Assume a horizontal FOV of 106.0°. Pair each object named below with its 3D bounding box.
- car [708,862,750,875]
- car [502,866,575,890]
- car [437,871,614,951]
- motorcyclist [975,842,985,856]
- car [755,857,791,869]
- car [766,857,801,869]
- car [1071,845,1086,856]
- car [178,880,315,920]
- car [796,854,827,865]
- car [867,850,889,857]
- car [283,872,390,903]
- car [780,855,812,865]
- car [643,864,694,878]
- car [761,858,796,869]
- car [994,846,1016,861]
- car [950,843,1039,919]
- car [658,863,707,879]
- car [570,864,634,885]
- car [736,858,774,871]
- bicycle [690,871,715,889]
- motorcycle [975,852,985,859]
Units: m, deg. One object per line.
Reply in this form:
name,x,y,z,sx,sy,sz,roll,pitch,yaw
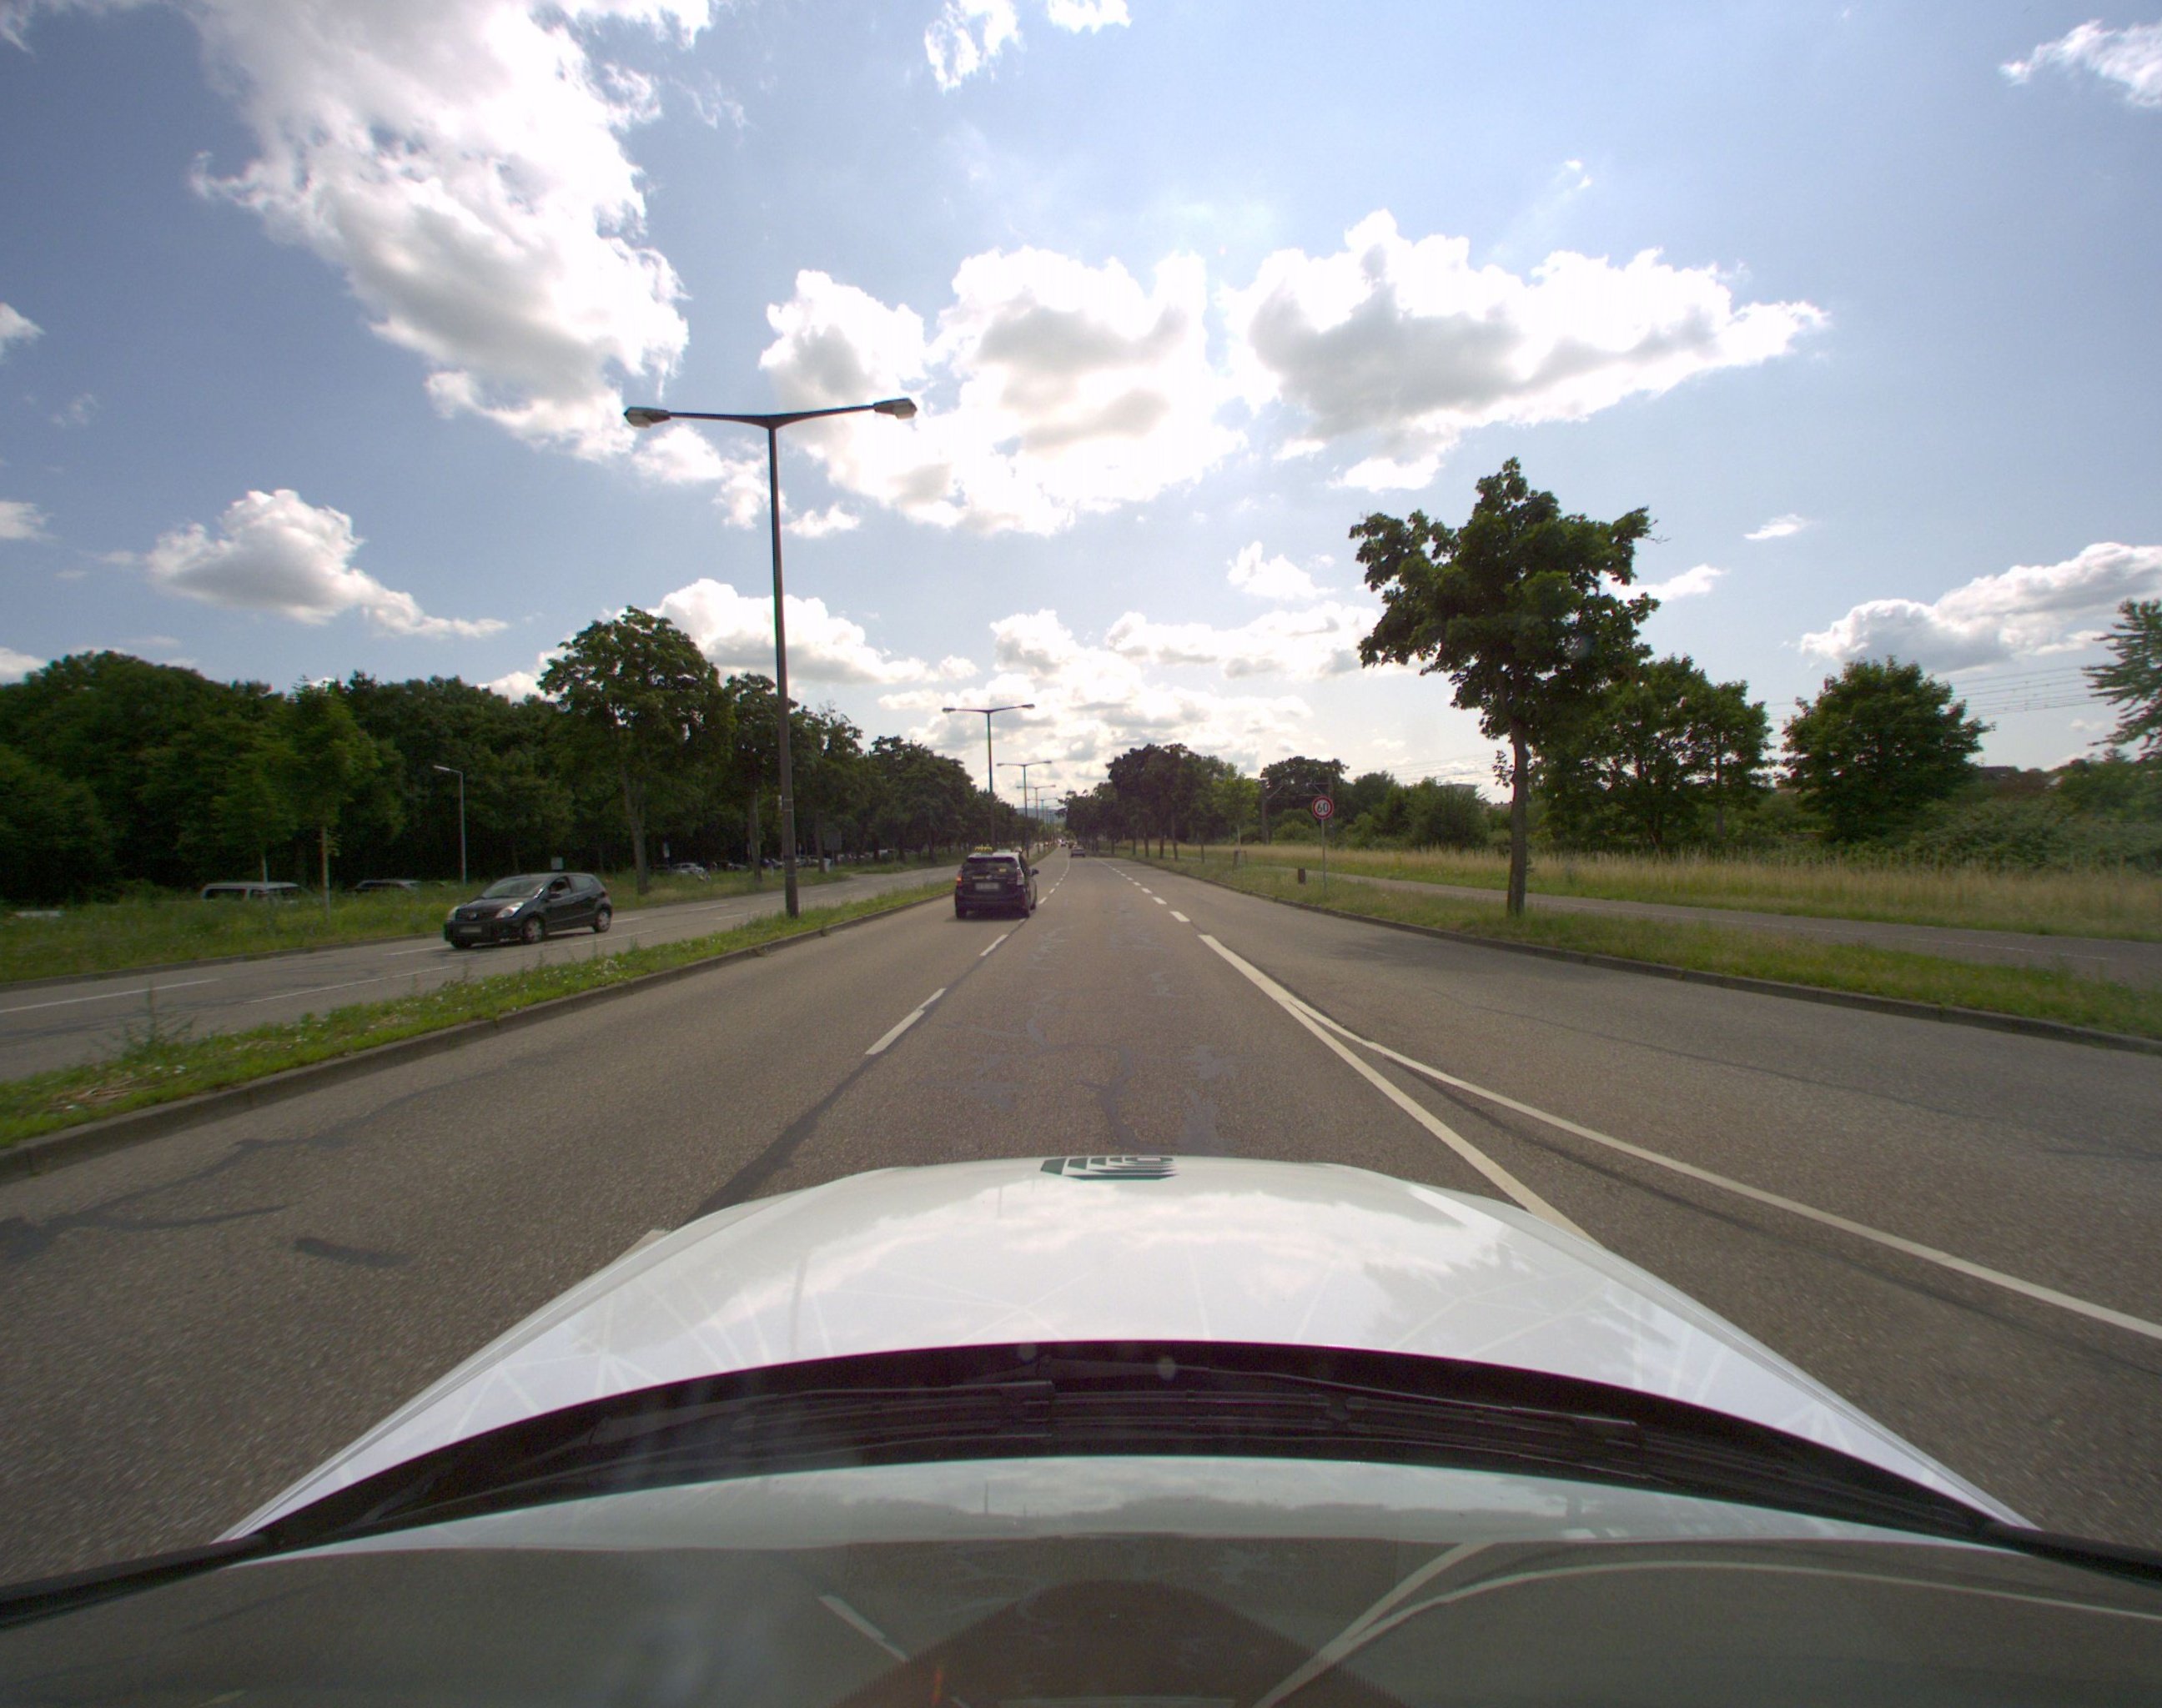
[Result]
car,-38.490,1.573,89.034,3.773,1.247,1.785,0,1,-1
car,-36.910,1.626,55.458,3.771,1.508,1.786,0,1,1
car,-11.876,1.153,17.713,1.700,1.427,3.664,-2,0,-9
motorcyclist,-11.093,-0.562,89.395,0.824,1.414,1.328,0,1,0
car,-38.680,1.114,102.366,3.769,1.387,1.787,0,1,3
car,-38.874,1.159,106.409,3.769,1.387,1.787,0,1,3
car,-0.376,-0.479,113.341,1.988,1.508,3.998,0,1,-2
car,-37.696,2.054,36.884,3.977,1.625,1.999,0,1,-3
car,-38.355,0.765,115.973,3.769,1.387,1.787,0,1,3
car,-39.500,-0.106,158.585,3.769,1.387,1.787,0,1,3
car,-41.251,1.846,45.227,3.977,1.519,1.999,0,1,-3
car,-39.130,0.821,111.961,3.769,1.387,1.787,0,1,3
car,-38.612,1.558,76.241,3.771,1.247,1.786,0,1,1
car,-38.781,1.192,104.395,3.769,1.387,1.787,0,1,3
car,-7.954,-0.105,85.162,1.805,1.398,4.733,-2,1,0
car,-2.081,0.593,20.563,1.773,1.683,4.000,0,1,0
car,-38.499,1.609,78.740,3.773,1.428,1.785,0,1,-1
car,-36.603,1.533,62.294,3.771,1.508,1.786,0,1,1
car,-38.655,1.240,96.591,3.769,1.568,1.787,0,1,3
bicycle,-22.734,1.536,48.989,0.565,0.978,1.917,-2,0,0
motorcycle,-11.119,0.146,89.425,0.749,0.772,2.672,0,1,0
